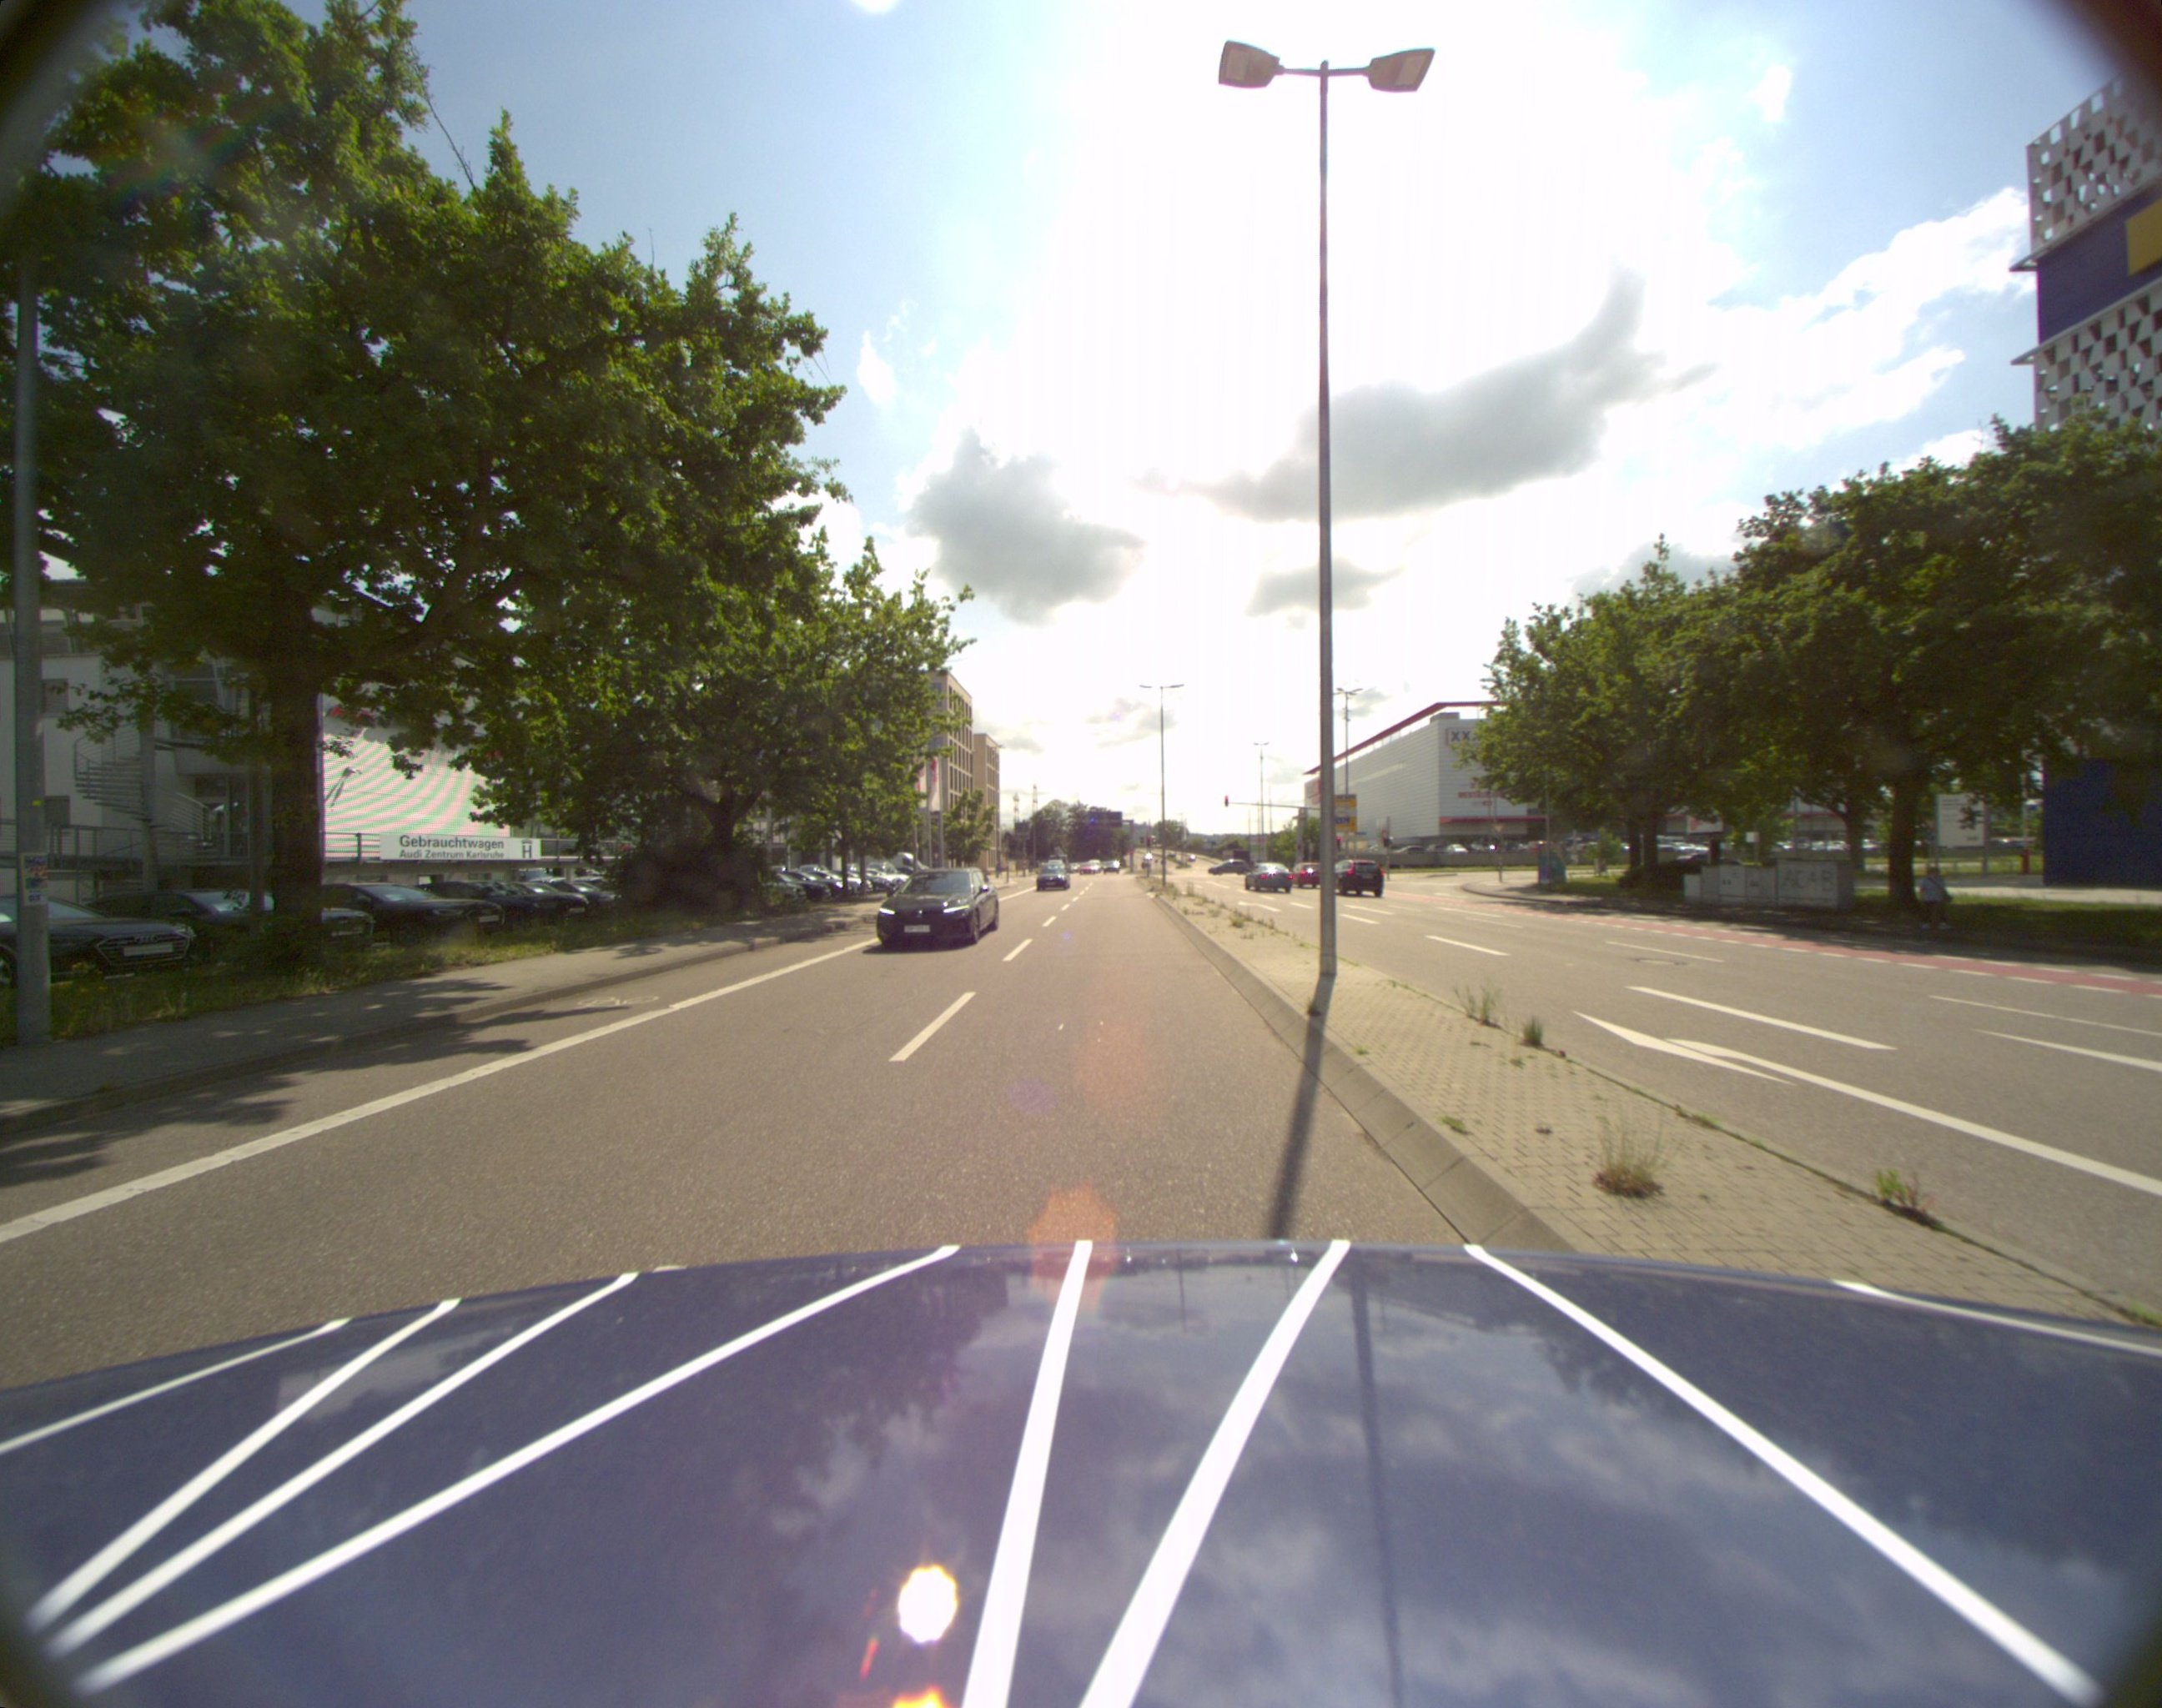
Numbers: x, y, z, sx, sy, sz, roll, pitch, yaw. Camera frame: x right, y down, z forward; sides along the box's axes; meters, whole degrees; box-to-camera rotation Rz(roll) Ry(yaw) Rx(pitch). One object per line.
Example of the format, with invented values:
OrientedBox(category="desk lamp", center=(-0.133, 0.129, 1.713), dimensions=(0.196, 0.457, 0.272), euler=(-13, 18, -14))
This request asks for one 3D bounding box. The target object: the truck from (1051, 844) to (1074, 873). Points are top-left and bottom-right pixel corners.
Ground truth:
OrientedBox(category="truck", center=(-2.345, 0.669, 99.088), dimensions=(2.673, 3.533, 9.786), euler=(-2, -2, 0))

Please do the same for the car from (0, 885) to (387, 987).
OrientedBox(category="car", center=(-15.017, 1.345, 13.009), dimensions=(4.585, 1.490, 1.907), euler=(-1, 0, 3))

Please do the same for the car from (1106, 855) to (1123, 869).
OrientedBox(category="car", center=(3.937, 0.988, 90.502), dimensions=(1.827, 1.616, 4.213), euler=(-2, -2, 0))

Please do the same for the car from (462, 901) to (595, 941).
OrientedBox(category="car", center=(-23.803, 2.884, 32.830), dimensions=(4.356, 1.490, 1.907), euler=(-1, 0, 3))

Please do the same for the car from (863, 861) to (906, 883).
OrientedBox(category="car", center=(-15.818, 1.443, 61.417), dimensions=(1.905, 1.667, 4.593), euler=(-2, -2, 4))

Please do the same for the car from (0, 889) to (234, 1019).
OrientedBox(category="car", center=(-14.835, 1.302, 10.340), dimensions=(4.585, 1.490, 1.907), euler=(-1, 0, 3))

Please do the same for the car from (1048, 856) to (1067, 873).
OrientedBox(category="car", center=(-2.792, 1.297, 91.160), dimensions=(1.998, 1.826, 4.994), euler=(-2, -2, 0))

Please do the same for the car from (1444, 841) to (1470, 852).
OrientedBox(category="car", center=(57.800, -1.097, 116.823), dimensions=(1.953, 1.462, 4.425), euler=(-1, -1, 4))

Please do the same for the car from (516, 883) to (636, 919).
OrientedBox(category="car", center=(-23.537, 2.177, 35.523), dimensions=(4.356, 1.490, 1.907), euler=(-1, 0, 3))

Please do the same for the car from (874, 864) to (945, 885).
OrientedBox(category="car", center=(-12.203, 1.479, 54.253), dimensions=(4.585, 1.289, 1.908), euler=(-2, -2, 3))

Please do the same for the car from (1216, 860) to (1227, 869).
OrientedBox(category="car", center=(24.977, 1.832, 135.265), dimensions=(1.777, 1.469, 4.682), euler=(-1, -1, 8))

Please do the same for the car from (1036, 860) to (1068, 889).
OrientedBox(category="car", center=(-1.585, 1.138, 42.831), dimensions=(1.606, 1.521, 4.270), euler=(-1, -1, 1))

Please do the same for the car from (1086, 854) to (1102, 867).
OrientedBox(category="car", center=(1.713, 0.860, 101.787), dimensions=(1.826, 1.616, 4.214), euler=(-2, -2, 4))

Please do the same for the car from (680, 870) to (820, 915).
OrientedBox(category="car", center=(-12.970, 1.507, 29.964), dimensions=(4.585, 1.396, 1.908), euler=(-4, -2, 3))

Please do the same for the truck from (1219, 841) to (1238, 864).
OrientedBox(category="truck", center=(28.318, -0.167, 145.622), dimensions=(3.217, 4.002, 9.081), euler=(-2, -2, 12))

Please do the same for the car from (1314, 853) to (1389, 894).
OrientedBox(category="car", center=(12.709, 0.860, 36.075), dimensions=(1.932, 1.745, 4.821), euler=(2, 0, 2))

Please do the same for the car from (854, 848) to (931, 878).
OrientedBox(category="car", center=(-17.998, 0.856, 72.638), dimensions=(6.853, 2.591, 2.142), euler=(-2, -1, 10))

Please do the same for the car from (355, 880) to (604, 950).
OrientedBox(category="car", center=(-14.496, 1.453, 18.496), dimensions=(4.585, 1.490, 1.907), euler=(-1, 0, 3))

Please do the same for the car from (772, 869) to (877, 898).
OrientedBox(category="car", center=(-12.840, 1.460, 38.264), dimensions=(4.585, 1.289, 1.908), euler=(-2, -2, 3))

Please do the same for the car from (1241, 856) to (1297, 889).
OrientedBox(category="car", center=(9.525, 0.878, 38.903), dimensions=(1.777, 1.539, 4.821), euler=(2, 0, 2))

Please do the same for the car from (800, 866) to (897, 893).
OrientedBox(category="car", center=(-12.540, 1.391, 41.111), dimensions=(4.585, 1.289, 1.908), euler=(-2, -2, 3))

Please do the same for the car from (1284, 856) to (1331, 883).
OrientedBox(category="car", center=(13.244, 0.897, 44.610), dimensions=(1.690, 1.474, 4.126), euler=(1, 0, 3))

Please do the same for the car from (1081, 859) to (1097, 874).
OrientedBox(category="car", center=(0.950, 1.503, 89.998), dimensions=(1.827, 1.616, 4.213), euler=(-2, -2, 0))

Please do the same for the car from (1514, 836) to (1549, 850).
OrientedBox(category="car", center=(62.924, -1.535, 106.197), dimensions=(1.916, 1.739, 4.187), euler=(-2, -2, -7))

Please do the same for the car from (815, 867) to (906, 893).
OrientedBox(category="car", center=(-12.527, 1.490, 43.407), dimensions=(4.585, 1.289, 1.908), euler=(-2, -2, 3))

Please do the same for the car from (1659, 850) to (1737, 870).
OrientedBox(category="car", center=(48.798, 0.470, 60.165), dimensions=(4.582, 1.546, 1.897), euler=(-1, 0, 4))

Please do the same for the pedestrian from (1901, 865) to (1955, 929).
OrientedBox(category="pedestrian", center=(21.079, 1.046, 18.924), dimensions=(0.504, 1.546, 0.761), euler=(-1, 0, 3))

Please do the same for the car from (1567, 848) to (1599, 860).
OrientedBox(category="car", center=(69.562, 0.025, 105.370), dimensions=(1.952, 1.595, 4.426), euler=(-1, -1, 6))

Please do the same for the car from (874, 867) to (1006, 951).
OrientedBox(category="car", center=(-2.797, 1.035, 16.279), dimensions=(1.813, 1.469, 5.205), euler=(-1, -1, 0))

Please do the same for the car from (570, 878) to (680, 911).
OrientedBox(category="car", center=(-22.737, 2.012, 37.990), dimensions=(4.356, 1.490, 1.907), euler=(-1, 0, 3))

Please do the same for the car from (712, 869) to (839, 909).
OrientedBox(category="car", center=(-12.946, 1.482, 32.362), dimensions=(4.585, 1.375, 1.908), euler=(-3, -2, 3))

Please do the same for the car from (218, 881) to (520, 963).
OrientedBox(category="car", center=(-14.708, 1.377, 15.878), dimensions=(4.585, 1.490, 1.907), euler=(-1, 0, 3))

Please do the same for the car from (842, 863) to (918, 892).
OrientedBox(category="car", center=(-12.121, 1.394, 46.004), dimensions=(3.996, 1.455, 1.796), euler=(-4, 0, 3))

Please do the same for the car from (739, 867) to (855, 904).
OrientedBox(category="car", center=(-13.154, 1.474, 35.369), dimensions=(4.585, 1.289, 1.908), euler=(-5, -2, 2))

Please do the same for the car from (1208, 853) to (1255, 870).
OrientedBox(category="car", center=(14.629, 0.720, 74.034), dimensions=(4.267, 1.521, 1.607), euler=(-1, 0, -3))
